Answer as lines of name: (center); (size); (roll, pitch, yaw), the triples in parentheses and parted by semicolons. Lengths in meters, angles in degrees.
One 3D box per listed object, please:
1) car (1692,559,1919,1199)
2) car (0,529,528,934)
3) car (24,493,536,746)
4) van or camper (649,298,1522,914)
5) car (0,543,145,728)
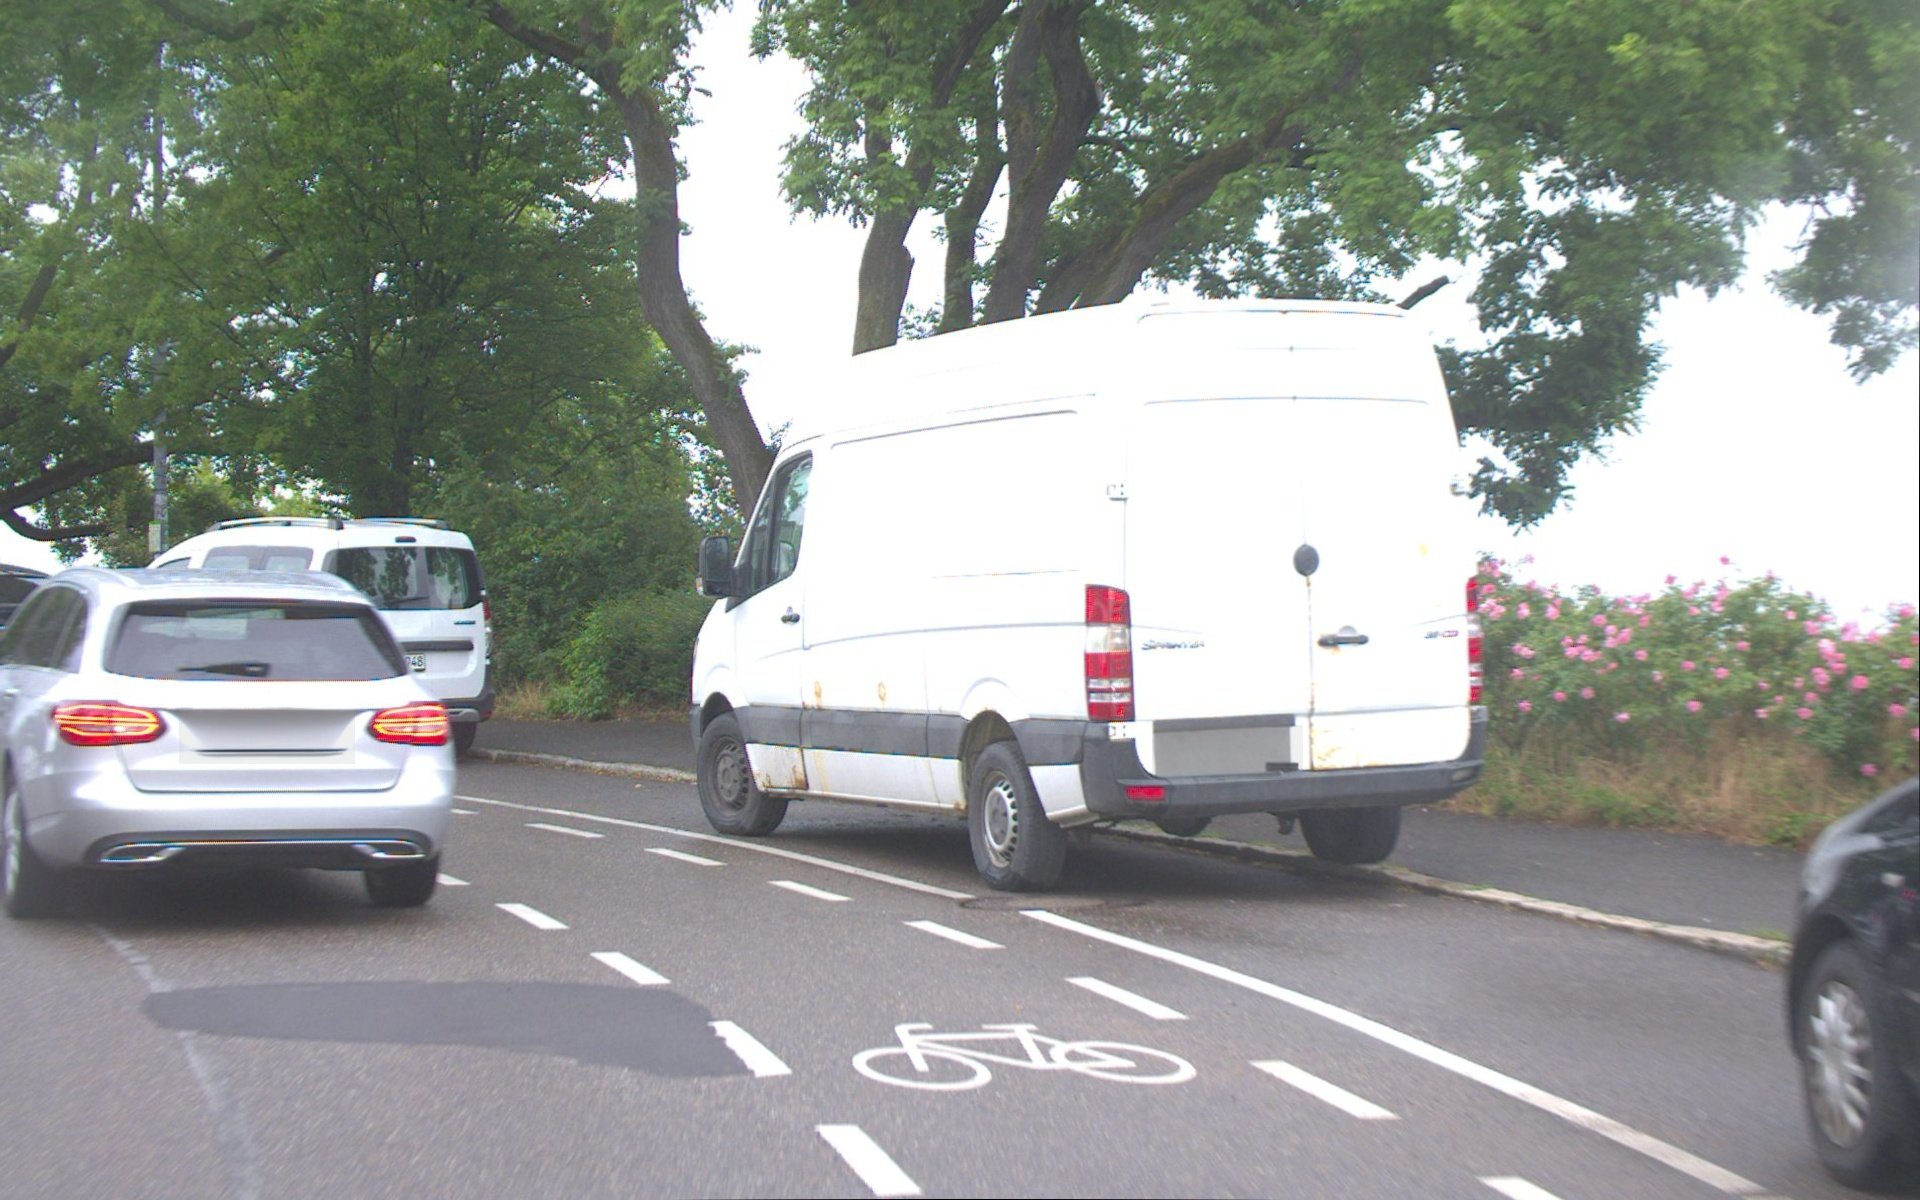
car: (3.057, 0.690, 7.126); (1.695, 1.439, 3.949); (2, 1, -8)
car: (-3.501, 0.501, 15.507); (1.982, 1.548, 4.299); (0, 0, -23)
car: (-5.417, 0.109, 27.041); (4.420, 1.815, 1.748); (1, 2, 45)
van or camper: (0.348, -0.057, 17.438); (2.066, 2.571, 5.889); (-2, 2, -23)
car: (-9.513, 0.280, 31.053); (4.892, 1.537, 1.861); (1, 2, 45)
